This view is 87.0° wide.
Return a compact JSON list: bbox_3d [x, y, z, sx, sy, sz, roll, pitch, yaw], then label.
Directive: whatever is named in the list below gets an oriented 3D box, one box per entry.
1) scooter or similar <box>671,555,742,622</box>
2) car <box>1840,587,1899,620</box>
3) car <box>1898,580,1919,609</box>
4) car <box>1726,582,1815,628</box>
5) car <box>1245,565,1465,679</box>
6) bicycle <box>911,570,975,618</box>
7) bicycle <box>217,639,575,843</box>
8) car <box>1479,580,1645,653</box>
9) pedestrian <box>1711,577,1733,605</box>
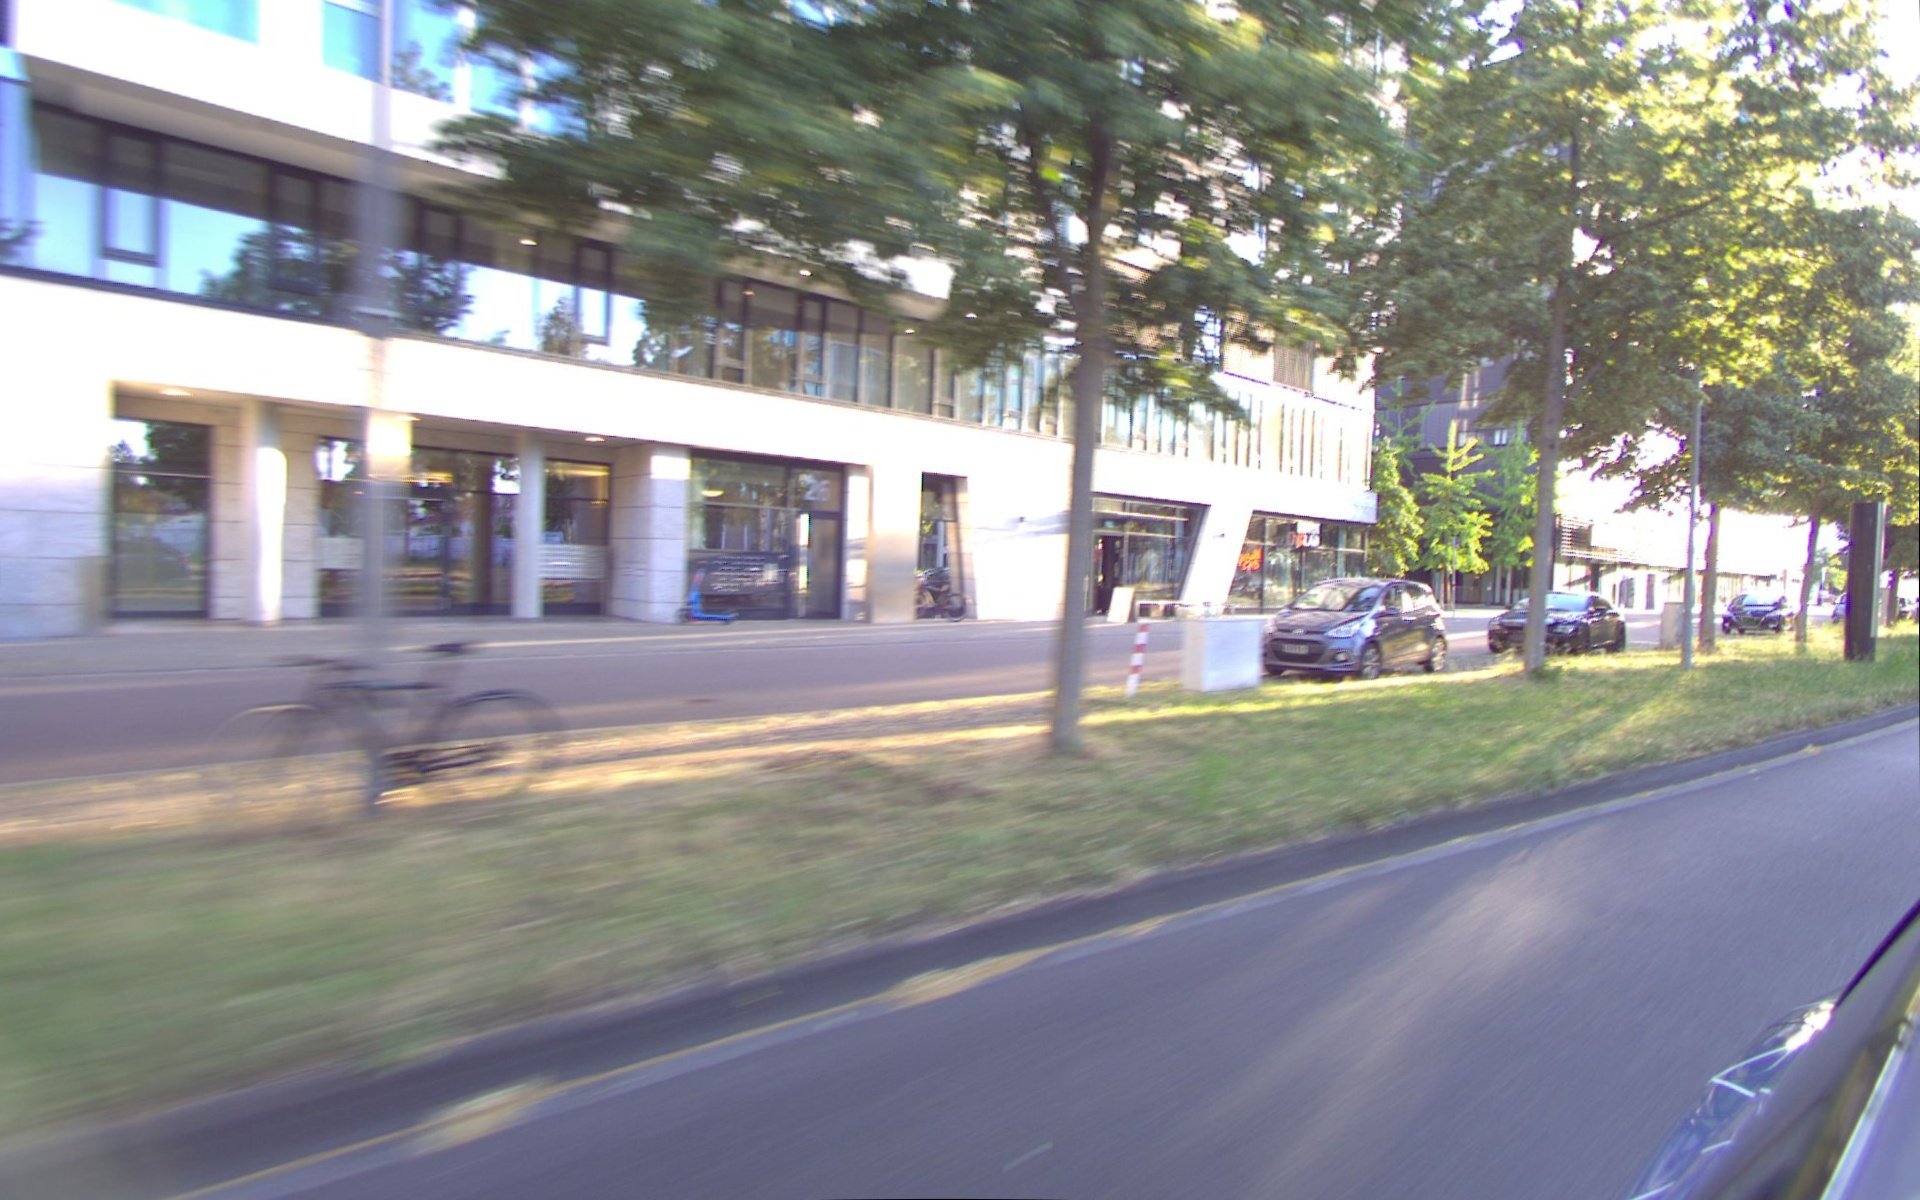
[{"bbox_3d":[-4.808,-0.221,19.216,1.207,1.226,0.473,0,2,-40],"label":"scooter or similar"},{"bbox_3d":[46.107,0.173,51.288,3.992,1.590,1.841,0,1,-42],"label":"car"},{"bbox_3d":[55.550,-0.293,58.156,4.215,1.513,1.865,-1,7,-41],"label":"car"},{"bbox_3d":[28.443,0.182,35.489,3.930,1.513,1.783,0,-1,-41],"label":"car"},{"bbox_3d":[6.141,0.287,15.571,3.695,1.534,1.712,0,0,-42],"label":"car"},{"bbox_3d":[-0.396,-0.140,23.104,1.364,1.040,0.456,1,2,-15],"label":"bicycle"},{"bbox_3d":[-2.751,0.642,5.050,1.525,0.833,0.316,0,2,-40],"label":"bicycle"},{"bbox_3d":[13.128,0.307,21.948,4.753,1.384,1.854,0,2,-43],"label":"car"},{"bbox_3d":[49.084,-0.580,65.166,0.897,1.819,0.898,1,2,-42],"label":"pedestrian"}]
